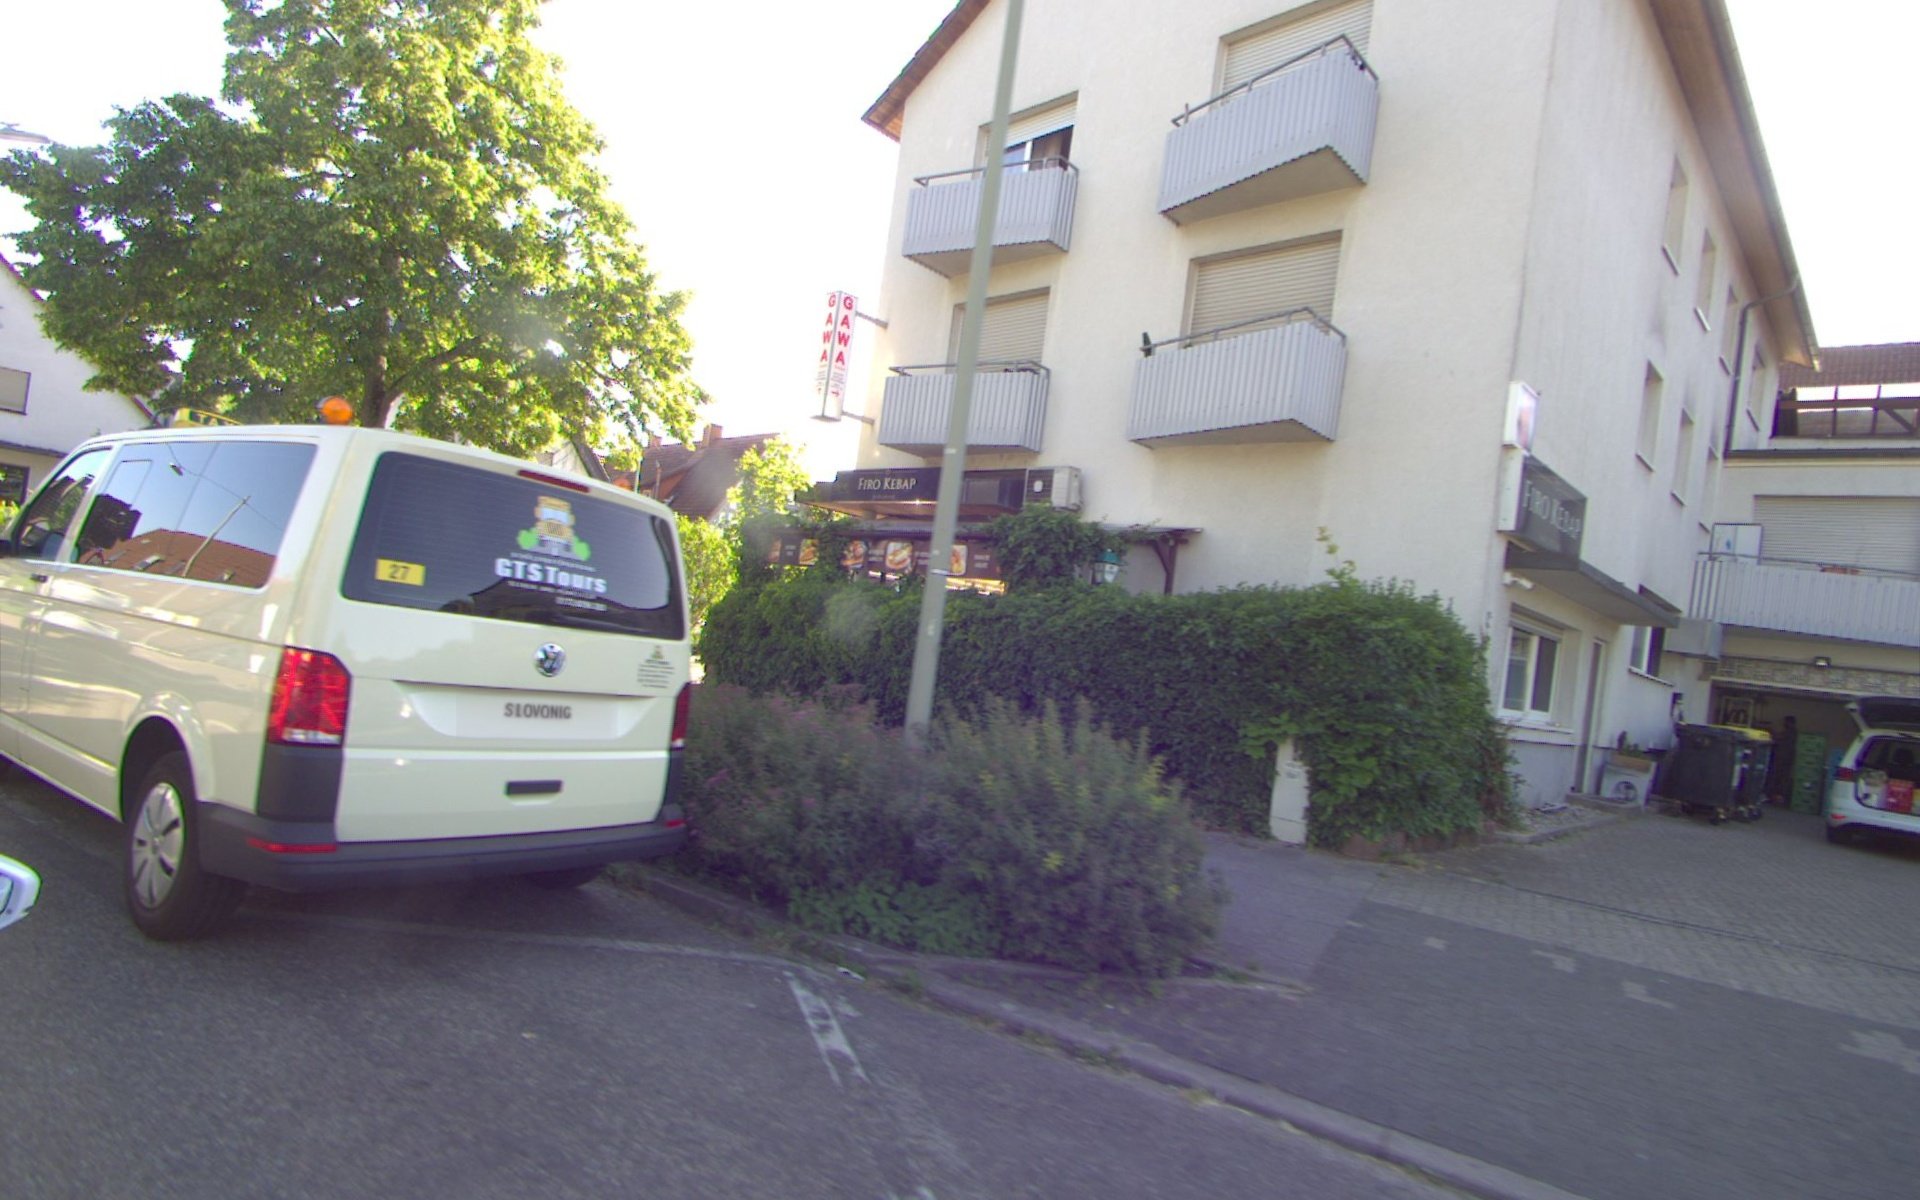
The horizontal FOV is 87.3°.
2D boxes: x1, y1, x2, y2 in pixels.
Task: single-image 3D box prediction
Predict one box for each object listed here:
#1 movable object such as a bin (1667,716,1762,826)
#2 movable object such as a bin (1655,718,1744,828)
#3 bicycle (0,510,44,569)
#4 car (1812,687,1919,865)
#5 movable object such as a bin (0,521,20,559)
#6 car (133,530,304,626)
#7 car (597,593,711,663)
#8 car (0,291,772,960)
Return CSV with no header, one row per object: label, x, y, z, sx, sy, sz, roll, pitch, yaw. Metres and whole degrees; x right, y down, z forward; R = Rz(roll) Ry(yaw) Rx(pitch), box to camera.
movable object such as a bin,10.919,2.463,14.559,0.831,1.394,0.870,9,-2,-44
movable object such as a bin,10.276,2.391,13.977,0.773,1.358,0.798,7,-2,44
bicycle,-23.499,-1.548,24.374,0.690,1.298,1.737,6,-3,40
car,12.871,2.345,13.253,3.971,1.983,1.748,7,0,-40
movable object such as a bin,-26.489,-1.677,27.875,0.586,0.988,0.497,7,-2,41
car,-16.415,-0.523,22.178,4.735,1.438,1.993,8,-2,42
car,-9.165,0.808,29.969,1.593,1.491,3.762,9,-1,-43
car,-3.430,0.009,5.233,4.505,2.102,1.997,6,-3,34
